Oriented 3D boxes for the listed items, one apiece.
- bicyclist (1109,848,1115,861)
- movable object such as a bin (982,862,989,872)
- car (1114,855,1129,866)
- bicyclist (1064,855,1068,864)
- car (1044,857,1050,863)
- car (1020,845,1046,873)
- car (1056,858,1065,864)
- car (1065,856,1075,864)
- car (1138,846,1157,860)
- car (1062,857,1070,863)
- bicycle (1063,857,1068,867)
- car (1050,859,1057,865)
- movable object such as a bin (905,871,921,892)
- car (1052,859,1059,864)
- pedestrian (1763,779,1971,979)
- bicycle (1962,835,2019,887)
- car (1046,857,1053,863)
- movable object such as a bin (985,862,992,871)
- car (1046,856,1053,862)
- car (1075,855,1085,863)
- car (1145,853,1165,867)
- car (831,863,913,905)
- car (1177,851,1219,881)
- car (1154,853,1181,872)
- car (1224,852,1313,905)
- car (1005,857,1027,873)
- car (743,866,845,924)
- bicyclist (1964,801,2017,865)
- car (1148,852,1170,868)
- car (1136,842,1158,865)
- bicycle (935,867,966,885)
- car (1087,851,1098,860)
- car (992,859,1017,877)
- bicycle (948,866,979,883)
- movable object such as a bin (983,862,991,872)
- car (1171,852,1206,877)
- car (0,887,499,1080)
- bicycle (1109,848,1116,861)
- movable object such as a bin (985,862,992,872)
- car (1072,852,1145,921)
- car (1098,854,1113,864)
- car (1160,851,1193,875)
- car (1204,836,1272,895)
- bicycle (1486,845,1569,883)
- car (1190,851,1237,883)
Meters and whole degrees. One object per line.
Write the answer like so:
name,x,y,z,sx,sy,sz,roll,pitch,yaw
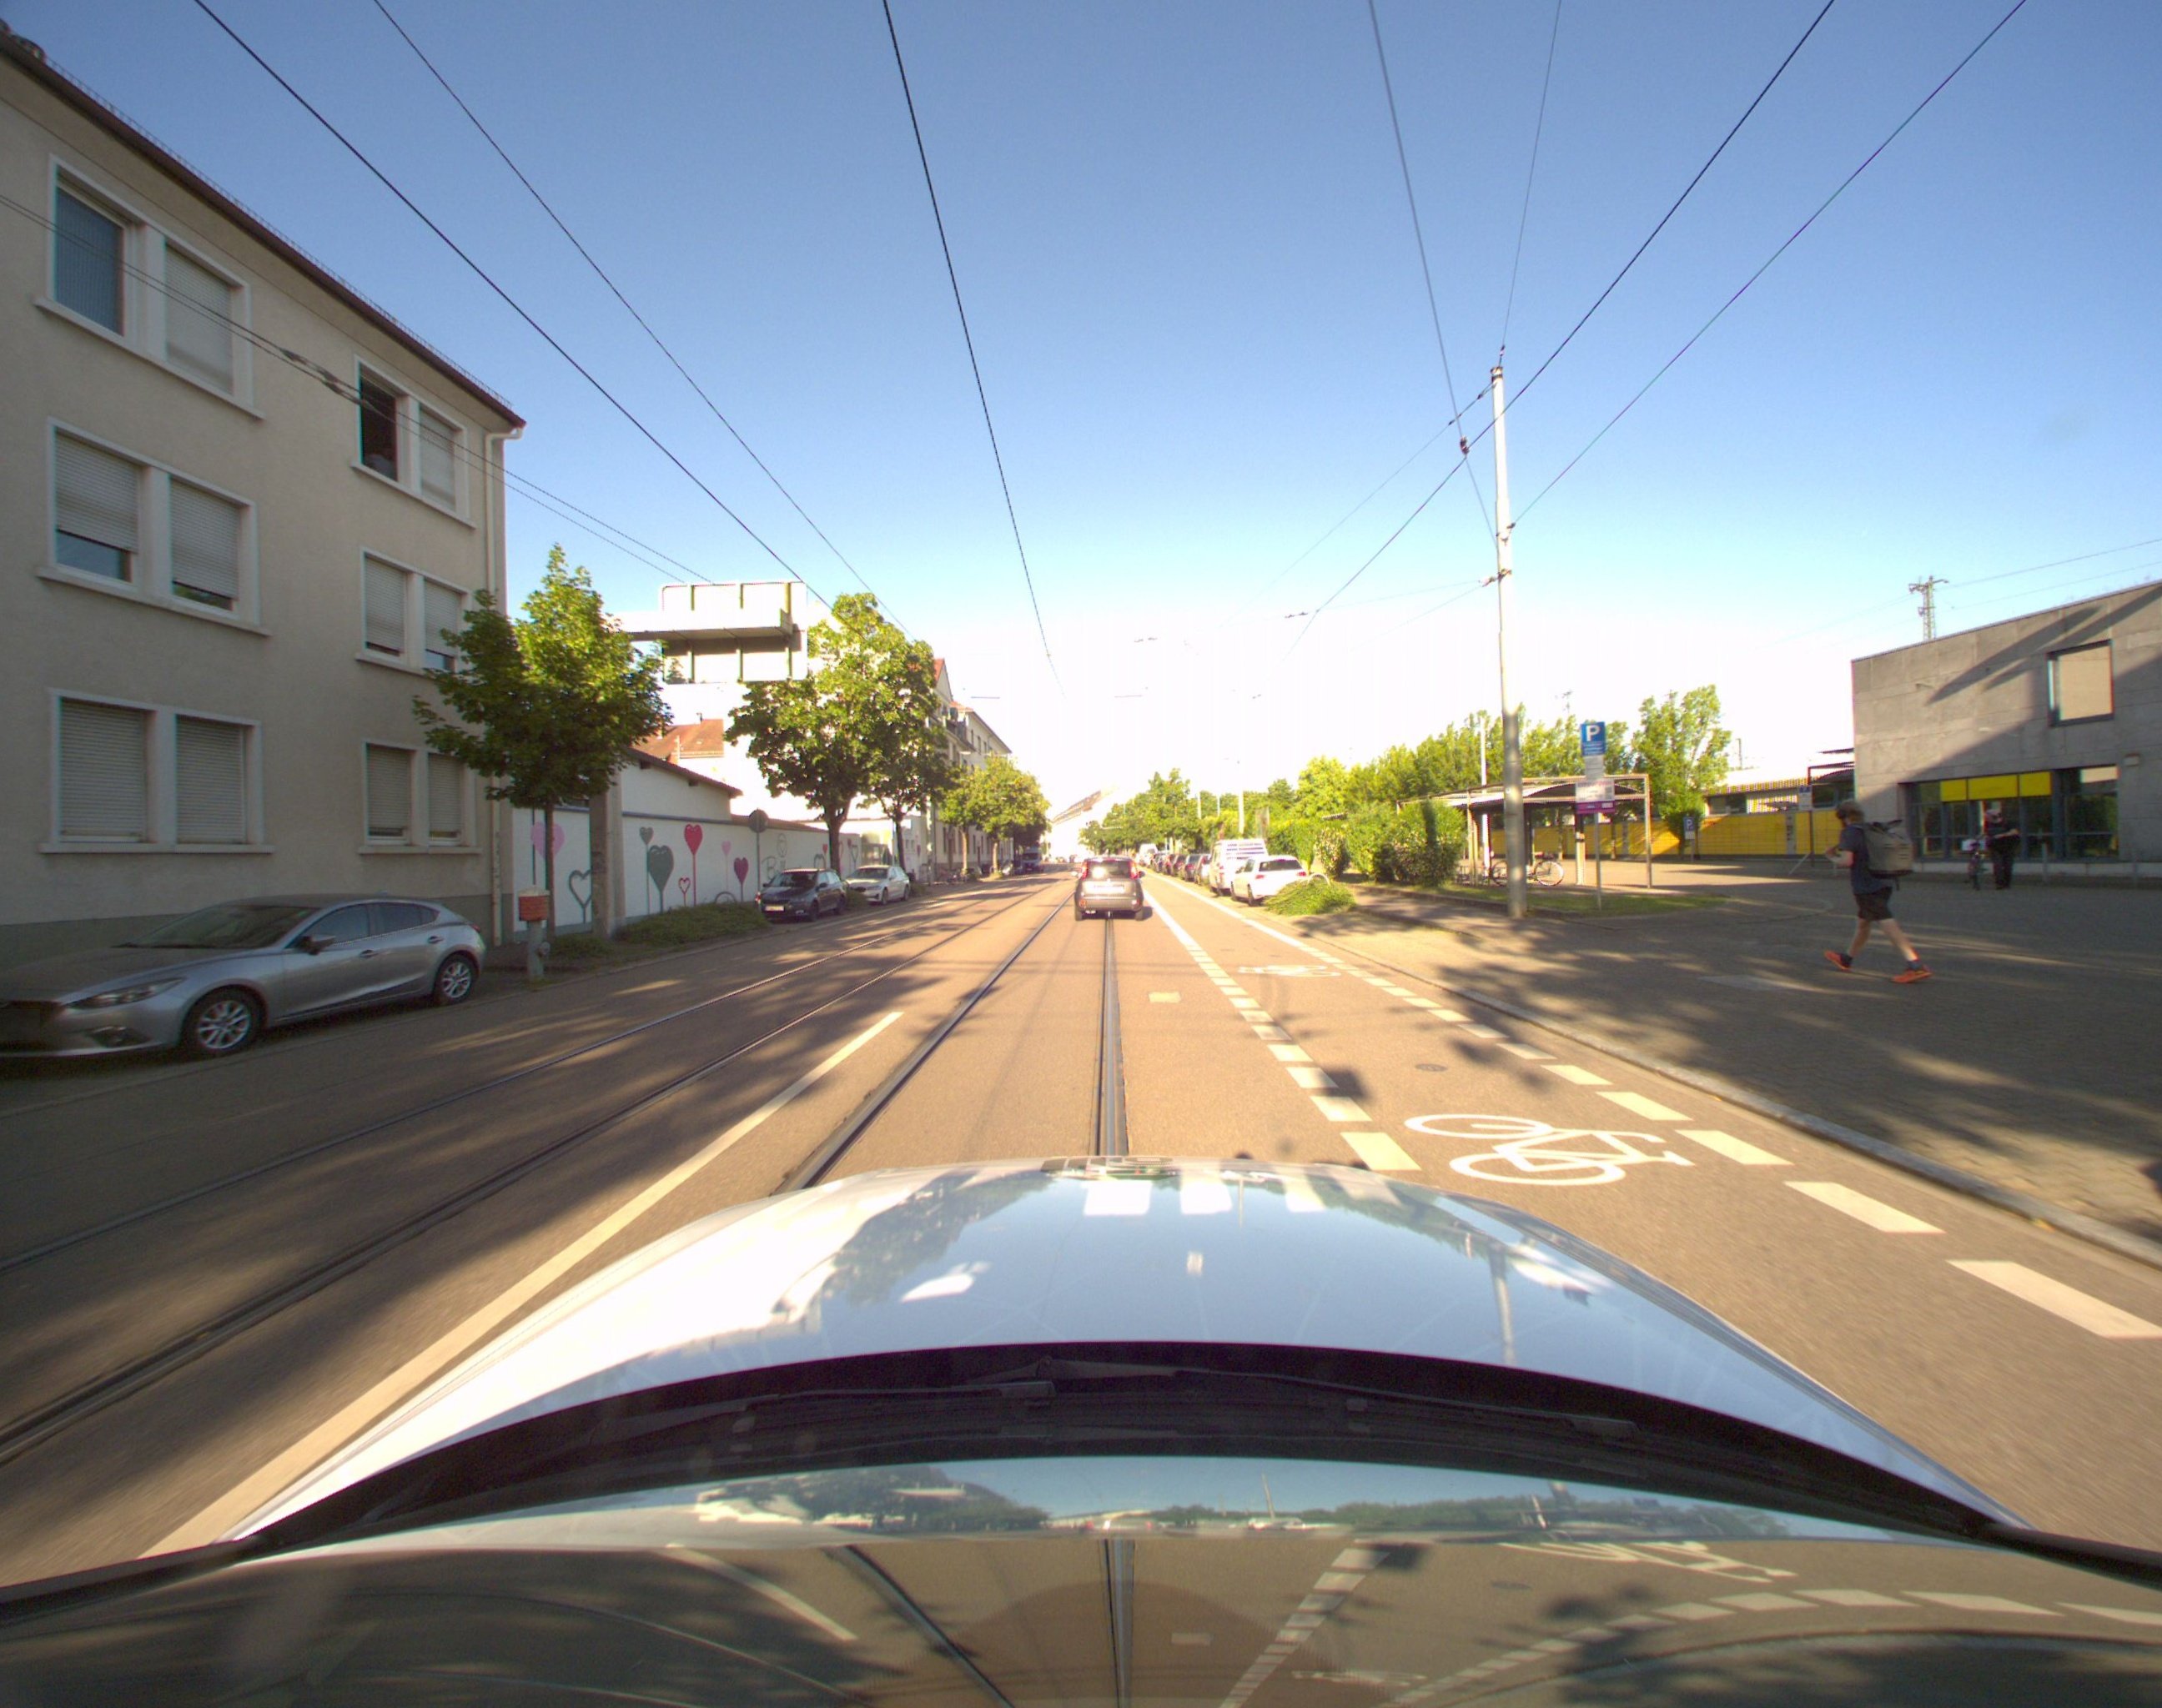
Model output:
bicyclist,4.344,0.078,112.677,0.699,1.759,0.755,-1,-1,-9
movable object such as a bin,-8.946,1.212,76.348,0.594,0.934,0.568,-2,0,-1
car,6.054,0.929,121.695,1.686,1.530,3.993,-3,0,-5
bicyclist,-3.255,1.212,174.088,0.715,2.014,0.829,-1,-1,-9
car,-9.902,1.764,237.932,1.582,1.599,3.366,-1,0,-9
car,-5.012,0.536,85.119,2.009,2.826,6.036,-1,0,3
car,-5.022,1.699,201.349,1.583,1.405,3.366,-5,0,-9
car,-2.499,1.358,186.595,1.655,1.944,4.650,-1,0,-9
car,7.823,-0.057,96.110,1.903,1.530,4.601,-2,0,1
car,-3.546,1.389,192.355,1.655,1.500,3.120,-1,0,-9
bicycle,-3.244,1.674,174.025,0.741,2.014,2.803,-1,-1,-9
car,-7.500,2.042,219.629,1.582,1.599,3.366,-1,0,-9
movable object such as a bin,-8.123,1.345,39.385,0.579,0.960,0.702,3,0,2
car,-6.648,1.945,213.055,1.582,1.405,3.366,-1,0,-9
pedestrian,7.808,0.231,8.173,0.668,1.789,1.304,-6,-1,2
bicycle,20.083,0.145,18.011,2.021,1.071,0.745,0,-1,-44
car,-8.939,1.714,232.241,1.582,1.599,3.366,-1,0,-9
movable object such as a bin,-8.912,1.206,78.715,0.594,0.934,0.568,-2,0,-1
car,-8.687,1.402,226.678,1.582,1.599,3.366,-1,0,-9
car,-0.187,1.110,171.625,1.655,1.571,3.488,-1,0,-9
car,7.870,0.628,86.619,1.723,1.512,4.250,-1,0,-1
car,-8.075,1.118,31.923,1.857,1.490,4.663,-1,0,2
car,6.310,0.634,44.189,1.817,1.484,4.604,-1,0,3
car,7.154,0.703,67.583,1.723,1.464,4.339,-1,0,-1
car,5.723,0.713,25.364,1.670,1.418,4.502,-3,0,0
car,-6.141,1.044,77.304,1.645,1.425,4.192,-1,0,2
car,-8.363,1.136,24.121,1.769,1.486,4.298,-1,0,-5
bicyclist,20.113,-0.451,18.018,0.585,1.384,0.721,0,-1,-45
car,7.819,0.594,81.829,1.723,1.604,4.341,-1,0,-1
car,8.263,-0.003,102.599,2.173,2.665,6.091,-4,0,0
bicycle,-7.585,1.276,47.553,0.661,1.040,1.798,-1,-1,39
car,2.122,0.317,153.289,1.634,1.508,3.388,-4,0,-7
car,-6.641,1.226,70.991,1.645,1.491,4.002,-1,0,2
bicycle,-7.398,1.280,51.162,1.998,1.040,0.526,0,-1,-44
movable object such as a bin,-8.878,1.225,76.942,0.594,0.934,0.568,-2,0,-1
car,6.879,0.657,52.453,1.817,1.452,4.645,-2,0,2
car,-8.878,1.163,8.879,1.866,1.429,4.295,-1,0,2
bicycle,4.356,0.028,112.726,0.675,1.747,2.151,-1,-1,-9
movable object such as a bin,-8.898,1.214,78.144,0.594,0.934,0.568,-2,0,-1
car,0.681,0.740,20.459,1.644,1.541,4.236,0,0,2
car,4.123,0.823,138.271,1.689,1.530,3.985,-3,0,-11
car,6.815,0.642,58.540,1.818,1.493,3.814,-4,0,0
car,5.827,0.413,30.782,1.846,1.991,5.247,-2,0,4
bicycle,12.179,0.264,22.258,1.883,1.008,0.579,-1,-1,14
car,6.342,0.612,39.378,1.864,1.473,4.079,-1,0,4
